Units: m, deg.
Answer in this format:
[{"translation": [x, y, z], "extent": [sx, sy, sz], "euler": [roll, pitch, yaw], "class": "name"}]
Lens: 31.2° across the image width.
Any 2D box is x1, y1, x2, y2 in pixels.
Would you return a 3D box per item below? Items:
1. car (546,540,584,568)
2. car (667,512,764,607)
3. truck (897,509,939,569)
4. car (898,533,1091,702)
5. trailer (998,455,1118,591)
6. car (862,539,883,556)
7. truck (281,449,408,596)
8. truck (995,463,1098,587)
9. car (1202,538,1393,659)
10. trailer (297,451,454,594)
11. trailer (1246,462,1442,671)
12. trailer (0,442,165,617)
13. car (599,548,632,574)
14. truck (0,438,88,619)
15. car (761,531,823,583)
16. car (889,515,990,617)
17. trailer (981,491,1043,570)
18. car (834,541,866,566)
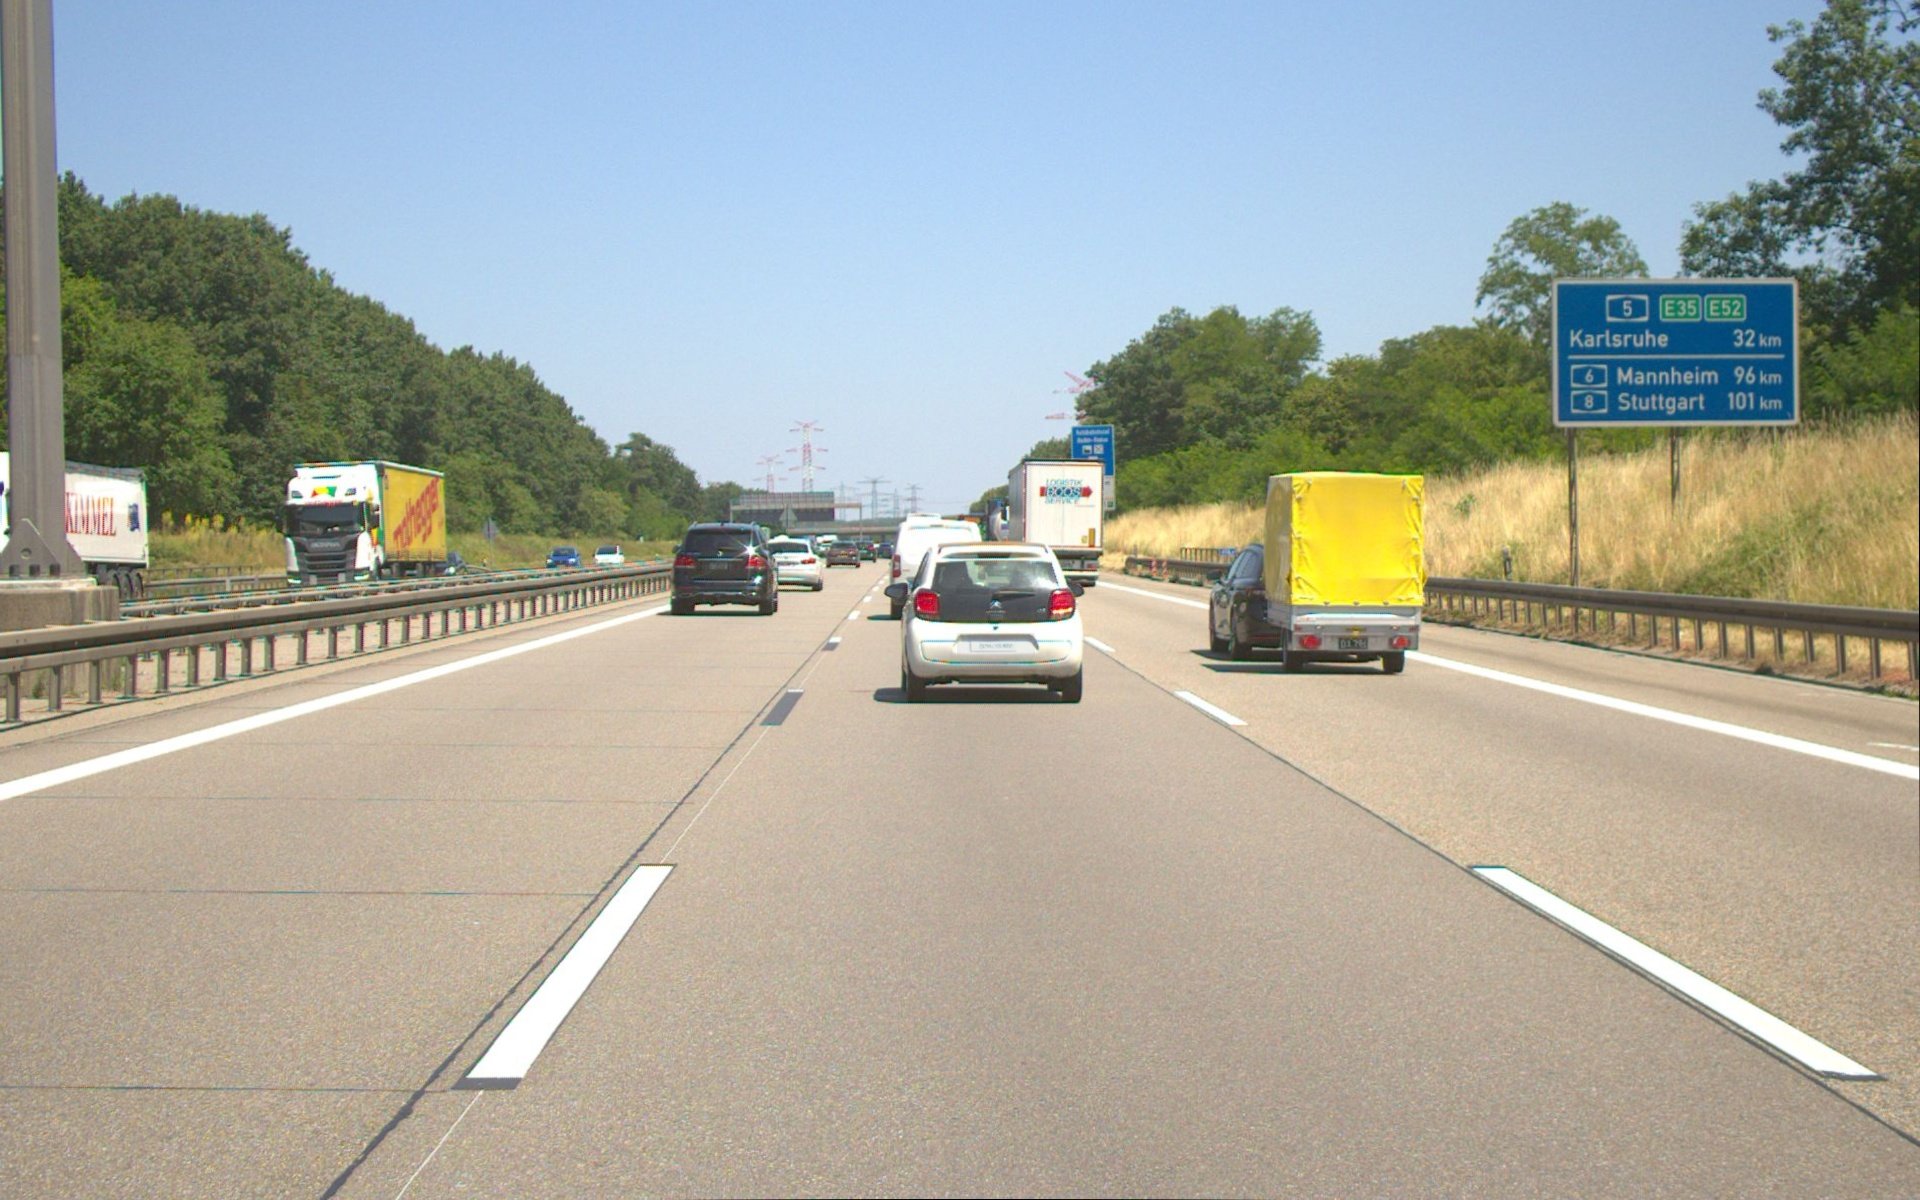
[{"translation": [-23.506, -2.728, 204.561], "extent": [1.702, 1.540, 4.536], "euler": [-3, 1, -1], "class": "car"}, {"translation": [-4.659, -0.790, 65.822], "extent": [1.626, 1.749, 3.805], "euler": [0, 1, -1], "class": "car"}, {"translation": [-2.118, -3.019, 171.615], "extent": [2.060, 2.904, 7.004], "euler": [0, 1, -1], "class": "truck"}, {"translation": [0.282, 0.118, 32.616], "extent": [1.708, 1.490, 4.024], "euler": [0, 1, -1], "class": "car"}, {"translation": [3.141, -2.500, 114.658], "extent": [3.285, 4.205, 13.566], "euler": [1, 1, -1], "class": "trailer"}, {"translation": [-5.894, -3.571, 232.140], "extent": [1.405, 1.128, 3.358], "euler": [0, 1, -1], "class": "car"}, {"translation": [-17.987, -2.265, 100.846], "extent": [2.464, 4.058, 6.288], "euler": [-3, 1, -1], "class": "truck"}, {"translation": [3.016, -2.632, 121.597], "extent": [3.286, 4.205, 6.008], "euler": [1, 1, -1], "class": "truck"}, {"translation": [4.263, -0.058, 44.136], "extent": [1.821, 1.451, 4.789], "euler": [1, 1, -2], "class": "car"}, {"translation": [-18.088, -2.406, 107.356], "extent": [2.464, 4.058, 14.280], "euler": [-3, 1, -1], "class": "trailer"}, {"translation": [4.393, -0.398, 39.814], "extent": [1.703, 2.282, 3.840], "euler": [1, 1, -2], "class": "trailer"}, {"translation": [-22.086, -1.691, 84.160], "extent": [2.625, 3.935, 11.159], "euler": [-3, 1, -1], "class": "trailer"}, {"translation": [-23.364, -2.642, 233.412], "extent": [1.702, 1.655, 5.117], "euler": [-3, 1, -1], "class": "car"}, {"translation": [-21.940, -1.561, 77.877], "extent": [2.625, 3.935, 6.483], "euler": [-3, 1, -1], "class": "truck"}, {"translation": [-4.697, -1.215, 96.447], "extent": [1.669, 1.396, 3.713], "euler": [0, 1, -2], "class": "car"}, {"translation": [-0.421, -0.646, 64.301], "extent": [1.814, 1.821, 5.111], "euler": [0, 1, -1], "class": "car"}, {"translation": [2.615, -3.493, 175.278], "extent": [2.682, 3.824, 12.011], "euler": [1, 1, -1], "class": "trailer"}, {"translation": [-5.845, -2.499, 183.131], "extent": [1.607, 1.296, 3.674], "euler": [0, 1, -1], "class": "car"}]
